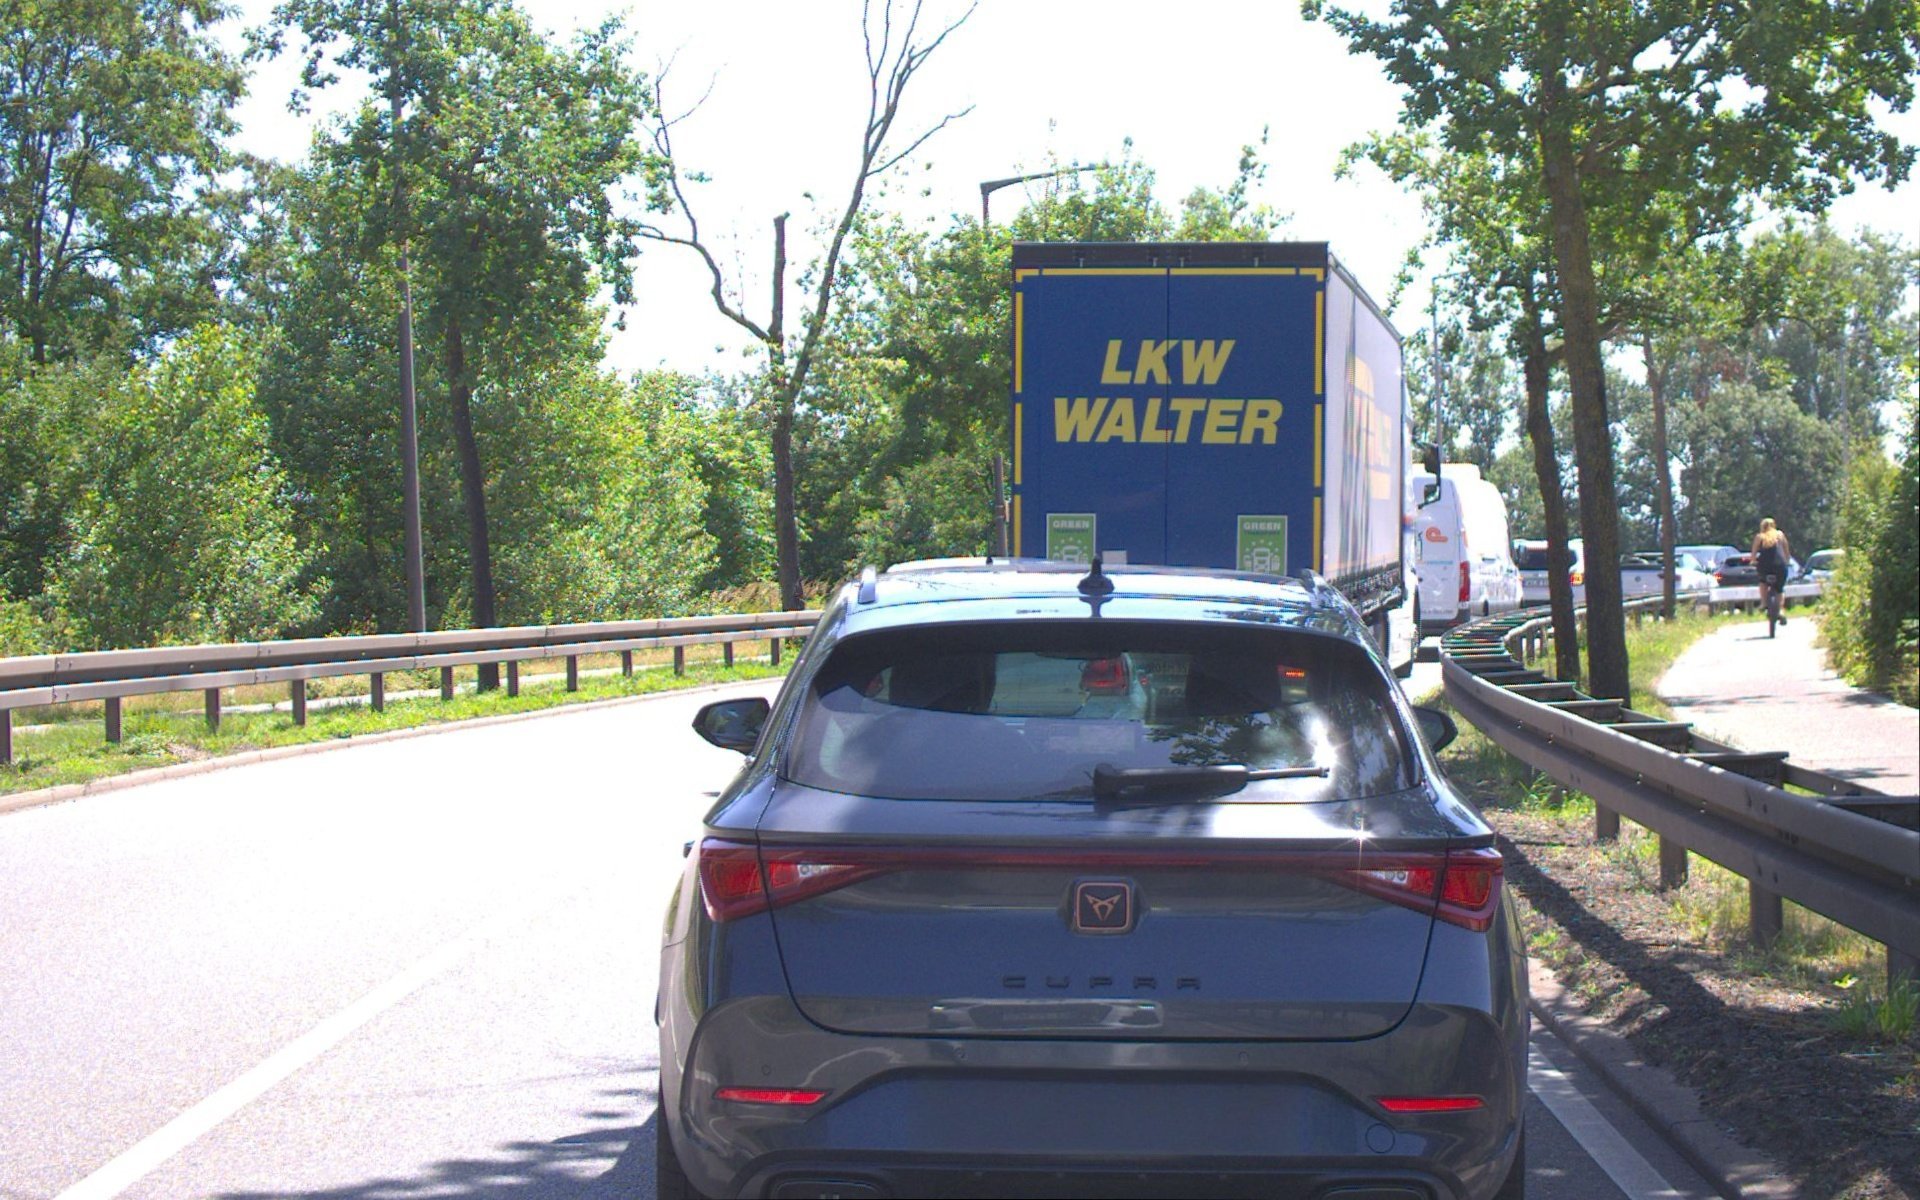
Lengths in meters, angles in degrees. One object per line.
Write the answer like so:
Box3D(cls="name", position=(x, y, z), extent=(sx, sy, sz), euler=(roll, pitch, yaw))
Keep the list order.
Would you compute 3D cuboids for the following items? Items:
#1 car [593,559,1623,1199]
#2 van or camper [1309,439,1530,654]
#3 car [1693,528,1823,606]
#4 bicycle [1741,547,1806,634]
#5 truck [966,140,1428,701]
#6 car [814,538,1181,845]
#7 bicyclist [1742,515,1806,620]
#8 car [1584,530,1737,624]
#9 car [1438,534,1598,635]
Box3D(cls="car", position=(0.202, 0.630, 7.793), extent=(1.744, 1.427, 3.880), euler=(1, 1, -1))
Box3D(cls="van or camper", position=(6.926, -0.785, 51.198), extent=(2.468, 2.988, 6.082), euler=(1, 1, 15))
Box3D(cls="car", position=(18.261, -0.750, 78.507), extent=(1.996, 1.711, 4.862), euler=(1, 1, 24))
Box3D(cls="bicycle", position=(11.890, -0.148, 50.309), extent=(0.861, 1.232, 2.308), euler=(1, 1, 12))
Box3D(cls="truck", position=(2.997, -1.517, 35.707), extent=(2.951, 4.433, 16.791), euler=(1, 1, 10))
Box3D(cls="car", position=(0.262, 0.429, 19.082), extent=(1.809, 1.503, 4.000), euler=(1, 1, 2))
Box3D(cls="bicyclist", position=(11.901, -0.477, 50.294), extent=(0.861, 1.518, 0.980), euler=(1, 1, 12))
Box3D(cls="car", position=(14.152, -0.465, 69.261), extent=(1.996, 1.802, 4.839), euler=(1, 1, 24))
Box3D(cls="car", position=(9.978, -0.292, 61.205), extent=(1.995, 1.706, 4.615), euler=(1, 1, 20))
